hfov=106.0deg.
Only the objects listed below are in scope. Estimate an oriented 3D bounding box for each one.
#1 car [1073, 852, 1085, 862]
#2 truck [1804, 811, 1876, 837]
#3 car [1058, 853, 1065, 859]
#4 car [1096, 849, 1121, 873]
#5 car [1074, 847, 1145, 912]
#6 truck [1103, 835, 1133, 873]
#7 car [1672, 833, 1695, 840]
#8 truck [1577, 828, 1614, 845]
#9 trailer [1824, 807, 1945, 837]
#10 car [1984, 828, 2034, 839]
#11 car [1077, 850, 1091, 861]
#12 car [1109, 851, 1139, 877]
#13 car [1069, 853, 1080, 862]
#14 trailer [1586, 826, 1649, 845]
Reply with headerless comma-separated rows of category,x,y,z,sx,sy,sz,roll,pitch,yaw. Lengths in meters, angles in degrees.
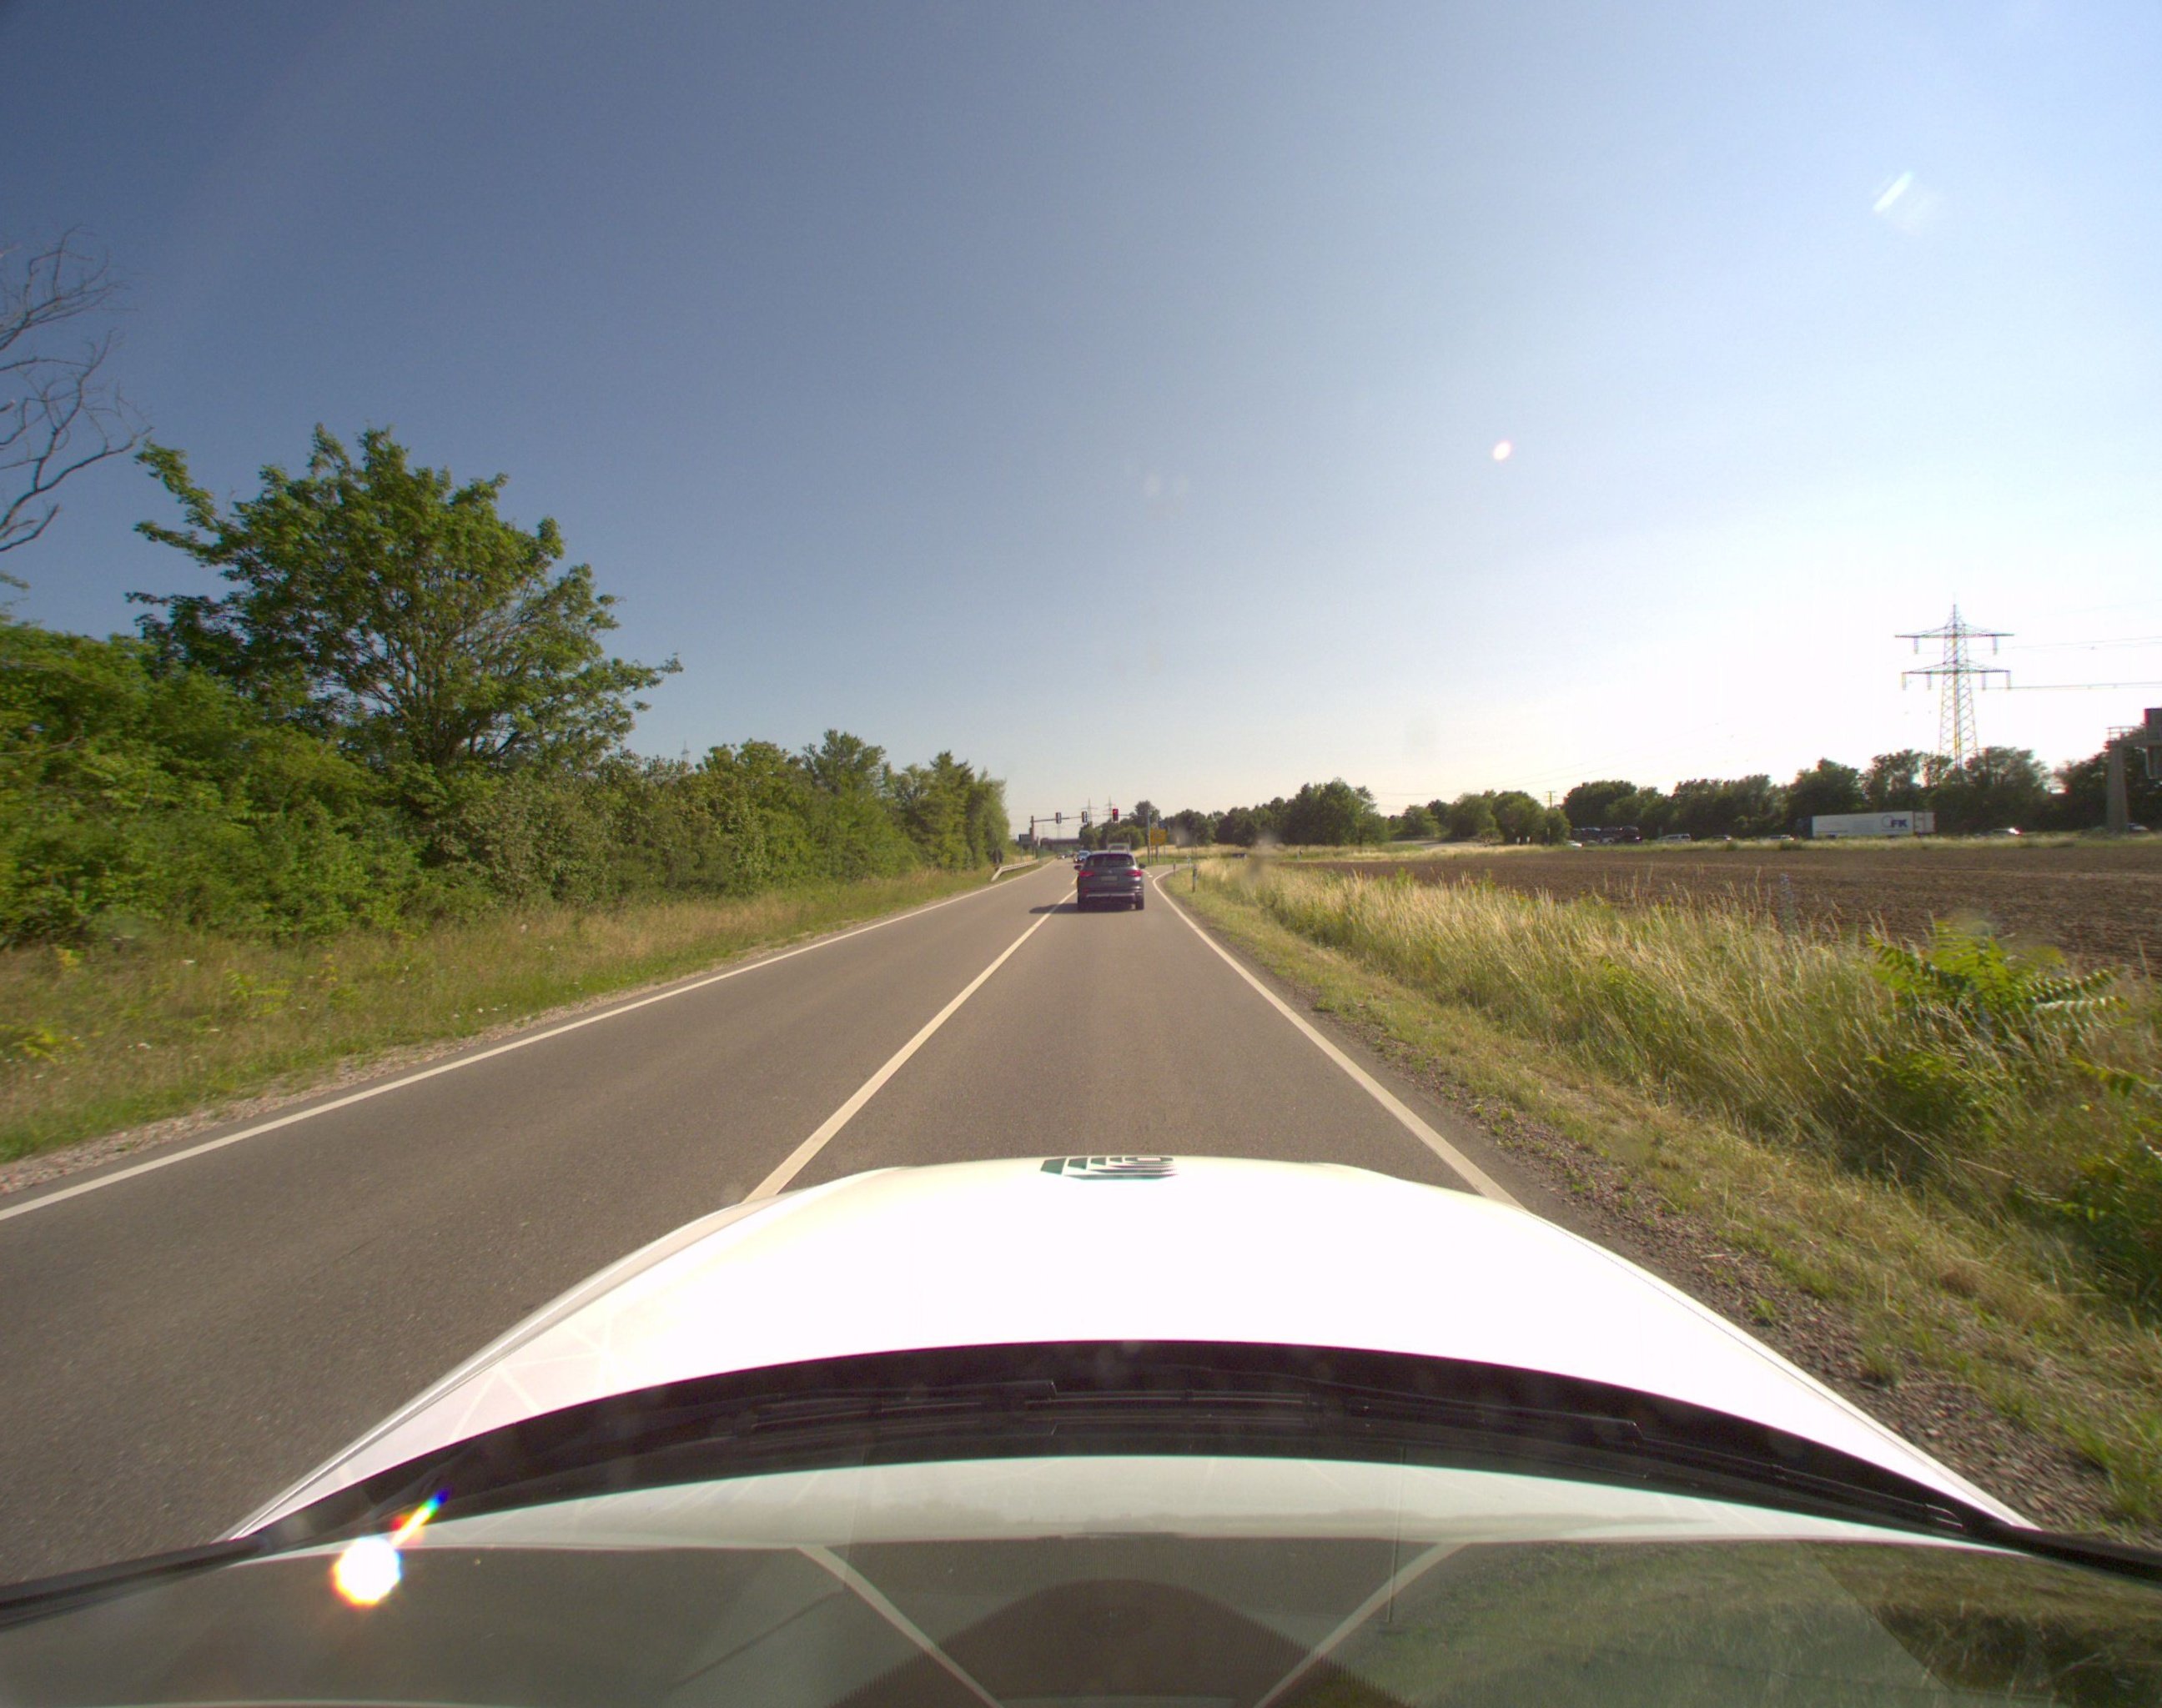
car,-0.343,0.434,125.317,1.679,1.380,3.531,-1,0,-2
truck,103.354,-4.042,111.021,3.273,3.267,6.979,-2,0,0
car,-4.782,0.420,199.169,1.820,1.431,3.996,-2,0,-2
car,2.021,0.516,60.944,1.779,1.675,4.001,-1,0,1
car,0.777,0.636,22.942,1.779,1.629,4.001,-1,0,1
truck,3.106,0.007,68.532,2.328,3.066,5.813,-1,0,2
car,95.898,-2.762,129.694,1.389,1.151,3.182,0,1,1
truck,102.423,-3.528,162.224,3.273,3.267,6.429,-2,1,0
trailer,103.288,-4.045,105.152,3.273,3.267,12.456,-2,0,0
car,102.020,-2.281,89.566,1.390,1.151,3.581,0,1,-1
car,0.397,0.190,112.884,1.811,1.540,3.997,-2,0,-2
car,2.762,0.641,52.670,1.779,1.543,4.001,-1,0,1
car,-1.006,0.496,133.020,1.679,1.380,3.531,-1,0,-2
trailer,102.366,-3.460,155.880,3.273,3.267,13.454,-2,1,0
